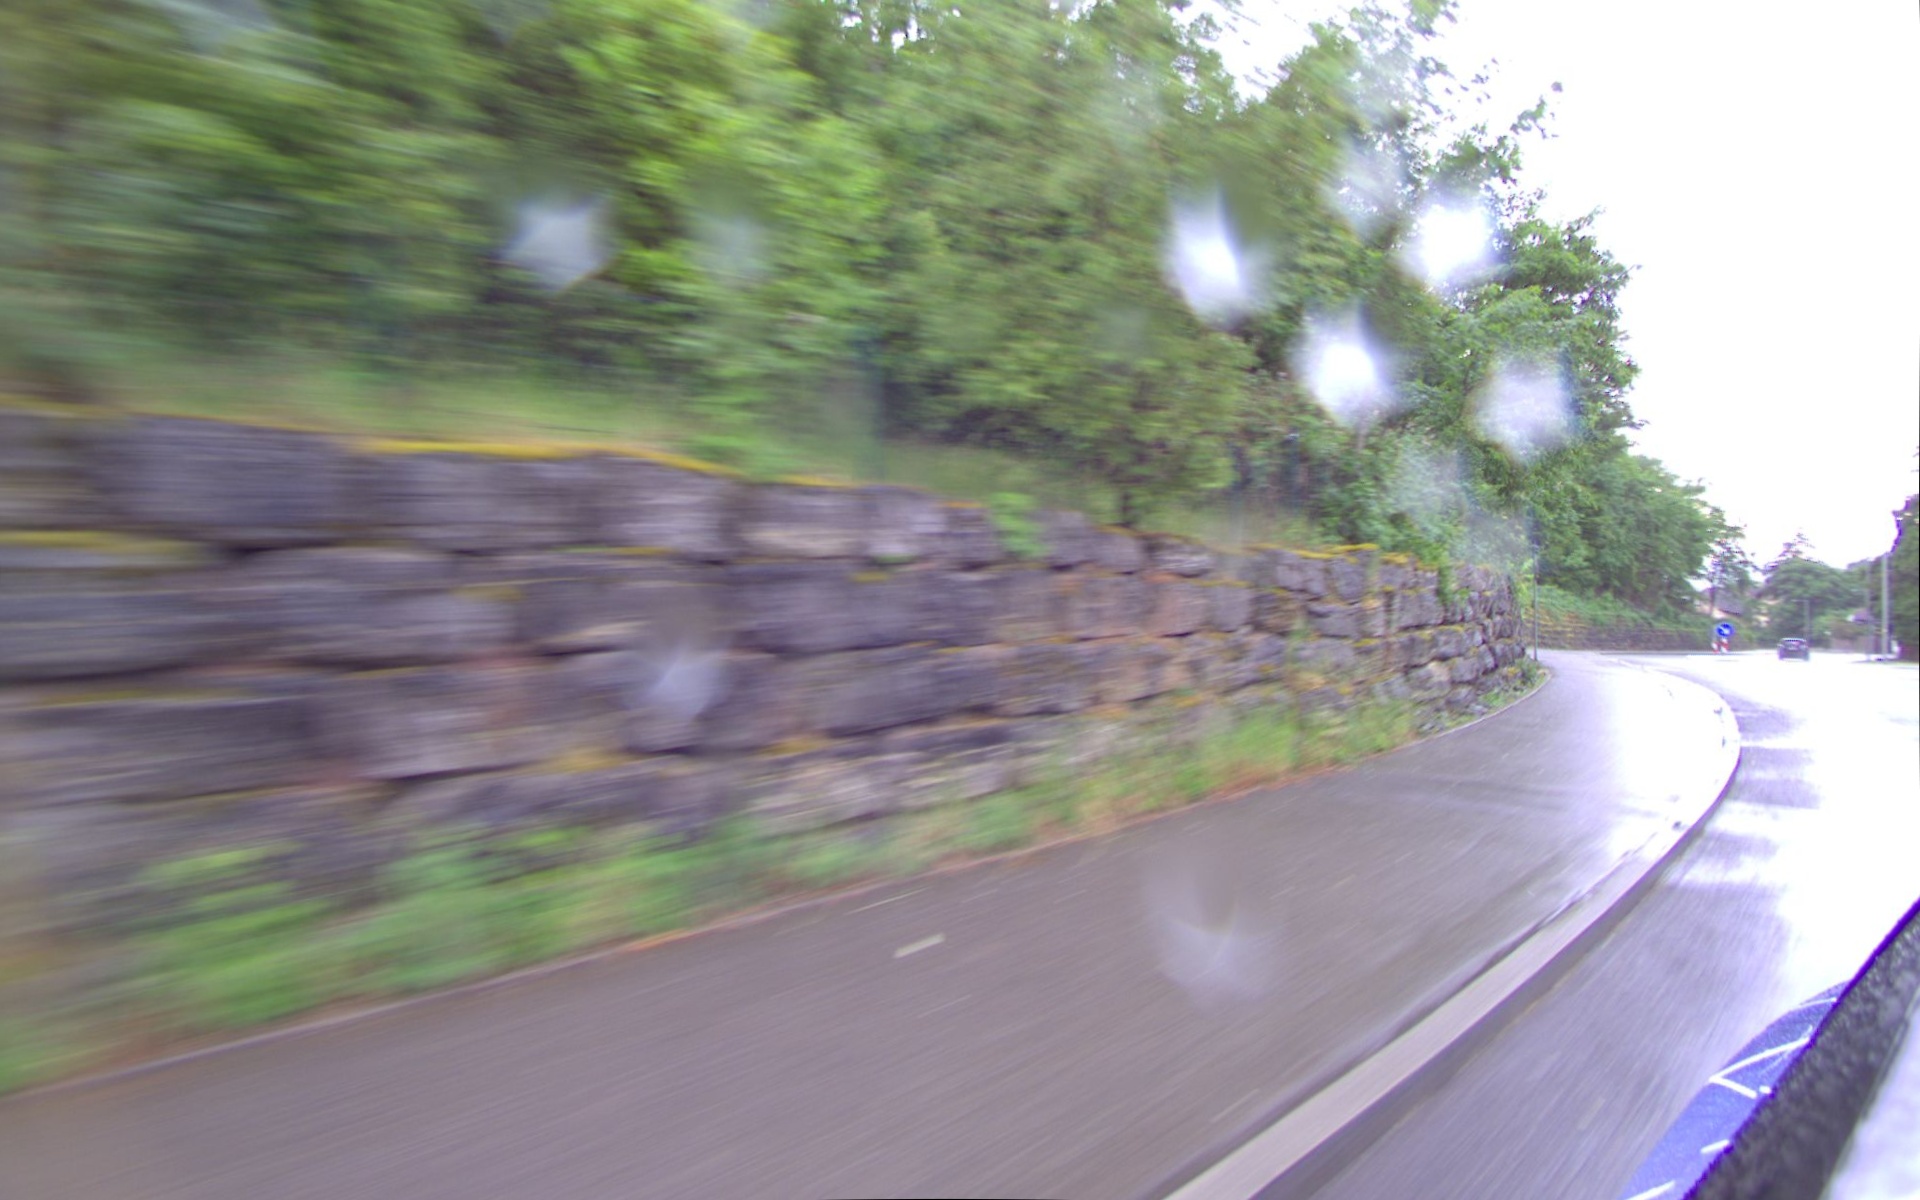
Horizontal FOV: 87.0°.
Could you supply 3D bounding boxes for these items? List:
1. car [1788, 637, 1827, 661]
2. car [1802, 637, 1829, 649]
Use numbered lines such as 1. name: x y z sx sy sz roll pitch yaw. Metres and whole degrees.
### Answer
1. car: 60.139 3.435 71.762 1.832 1.539 4.553 1 -1 43
2. car: 127.538 6.371 150.891 1.904 1.669 4.508 2 0 24
